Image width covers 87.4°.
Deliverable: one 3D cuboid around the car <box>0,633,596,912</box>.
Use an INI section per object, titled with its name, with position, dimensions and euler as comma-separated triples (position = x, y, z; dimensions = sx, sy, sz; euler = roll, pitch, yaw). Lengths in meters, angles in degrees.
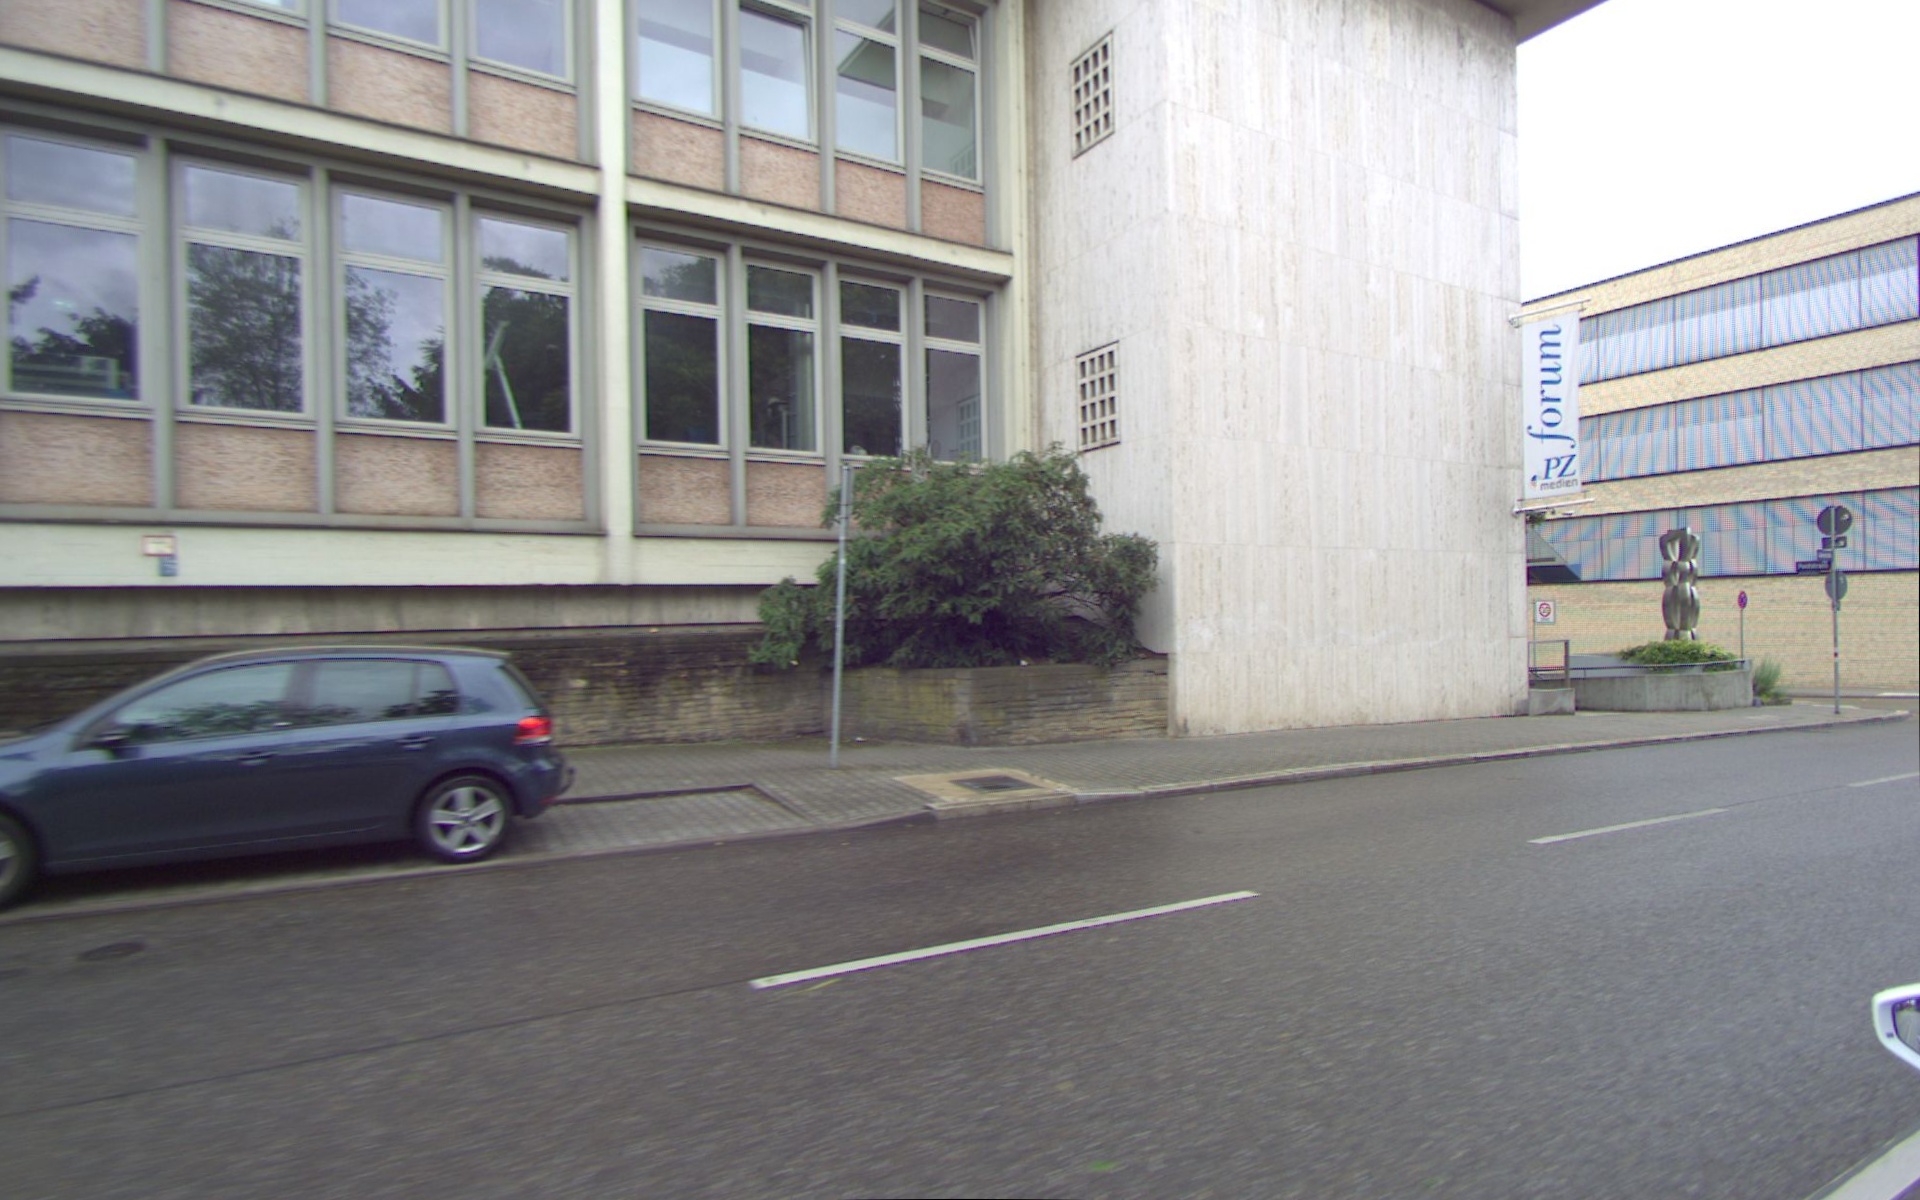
[car]
position = -4.870, 1.013, 6.990
dimensions = 4.134, 1.499, 1.738
euler = 1, 0, -32
